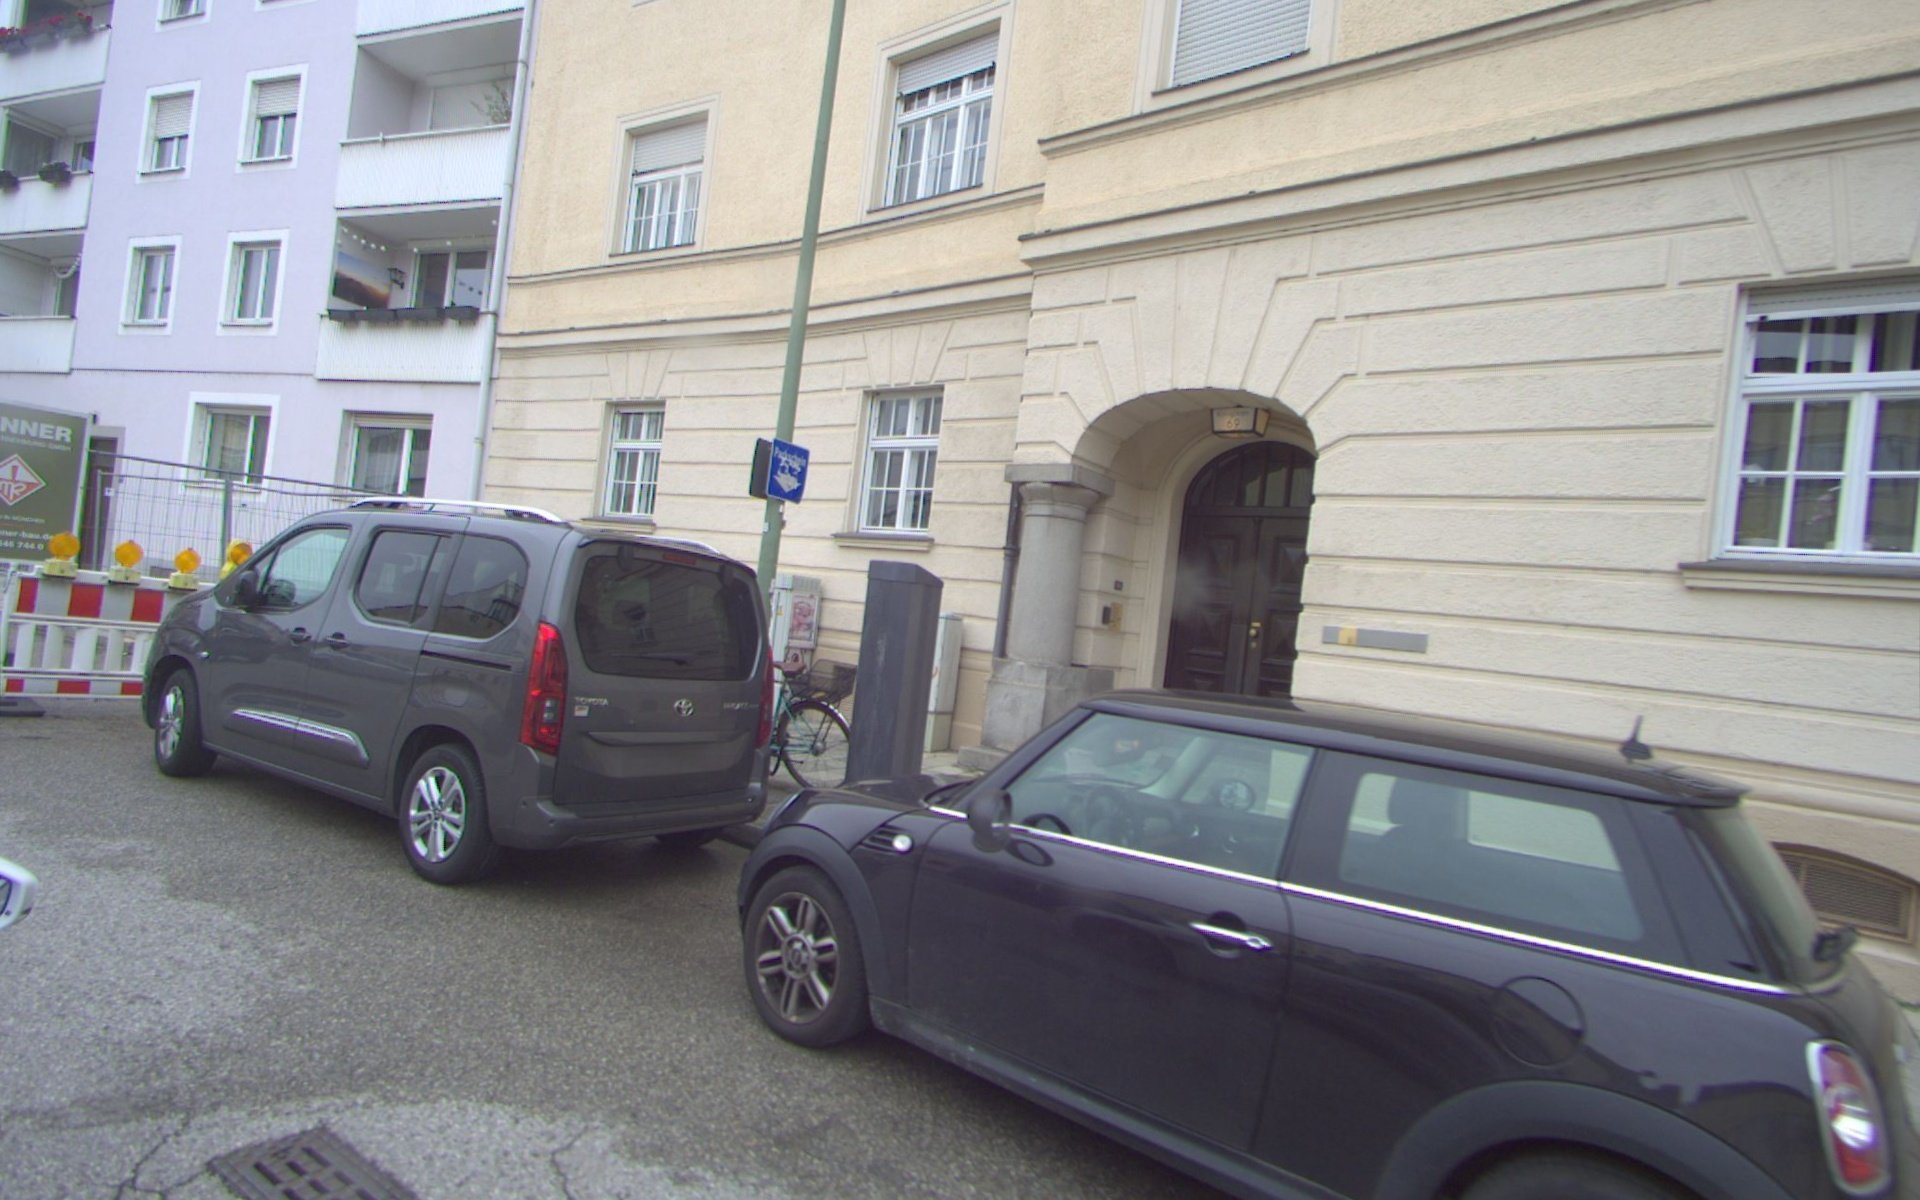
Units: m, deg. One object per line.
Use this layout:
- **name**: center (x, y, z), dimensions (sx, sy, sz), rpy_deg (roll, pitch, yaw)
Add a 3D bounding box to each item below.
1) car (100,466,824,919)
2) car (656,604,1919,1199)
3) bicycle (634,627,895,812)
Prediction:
- **car**: center (-3.138, 0.344, 6.130), dimensions (4.204, 1.827, 1.782), rpy_deg (6, -2, 31)
- **car**: center (0.855, 0.990, 3.427), dimensions (3.775, 1.463, 1.708), rpy_deg (6, -3, 40)
- **bicycle**: center (-1.482, 0.831, 7.440), dimensions (1.921, 1.026, 0.580), rpy_deg (7, -1, 33)
